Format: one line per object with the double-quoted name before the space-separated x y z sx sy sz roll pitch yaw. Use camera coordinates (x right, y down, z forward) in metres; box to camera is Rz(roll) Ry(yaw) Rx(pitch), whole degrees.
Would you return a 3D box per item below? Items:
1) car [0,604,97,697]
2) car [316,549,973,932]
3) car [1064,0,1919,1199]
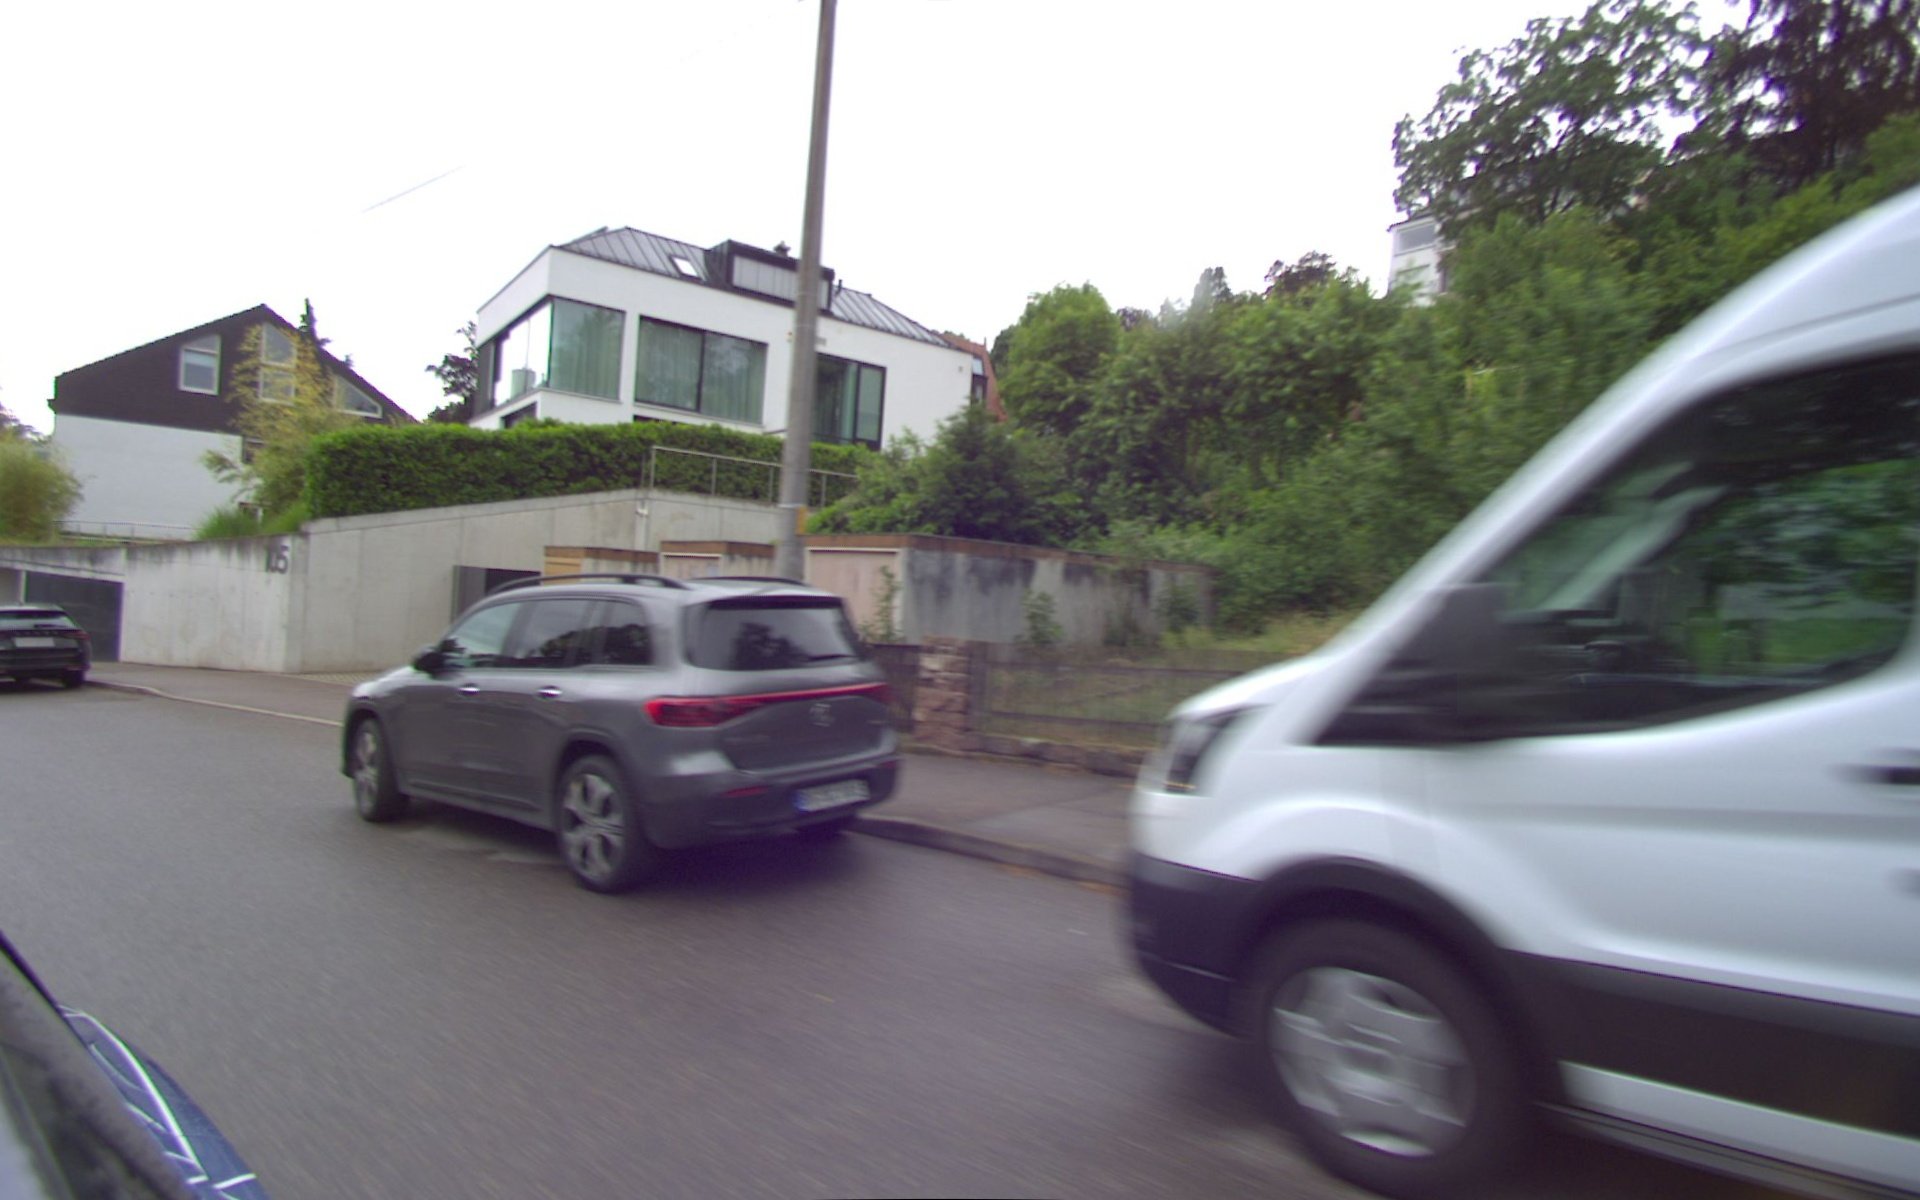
"car" -16.952 0.803 17.566 4.667 1.470 1.699 0 -1 32
"car" -2.284 0.652 6.670 4.539 1.704 1.878 0 -1 38
"car" 3.229 0.145 1.727 6.098 2.569 2.071 -1 -2 44
